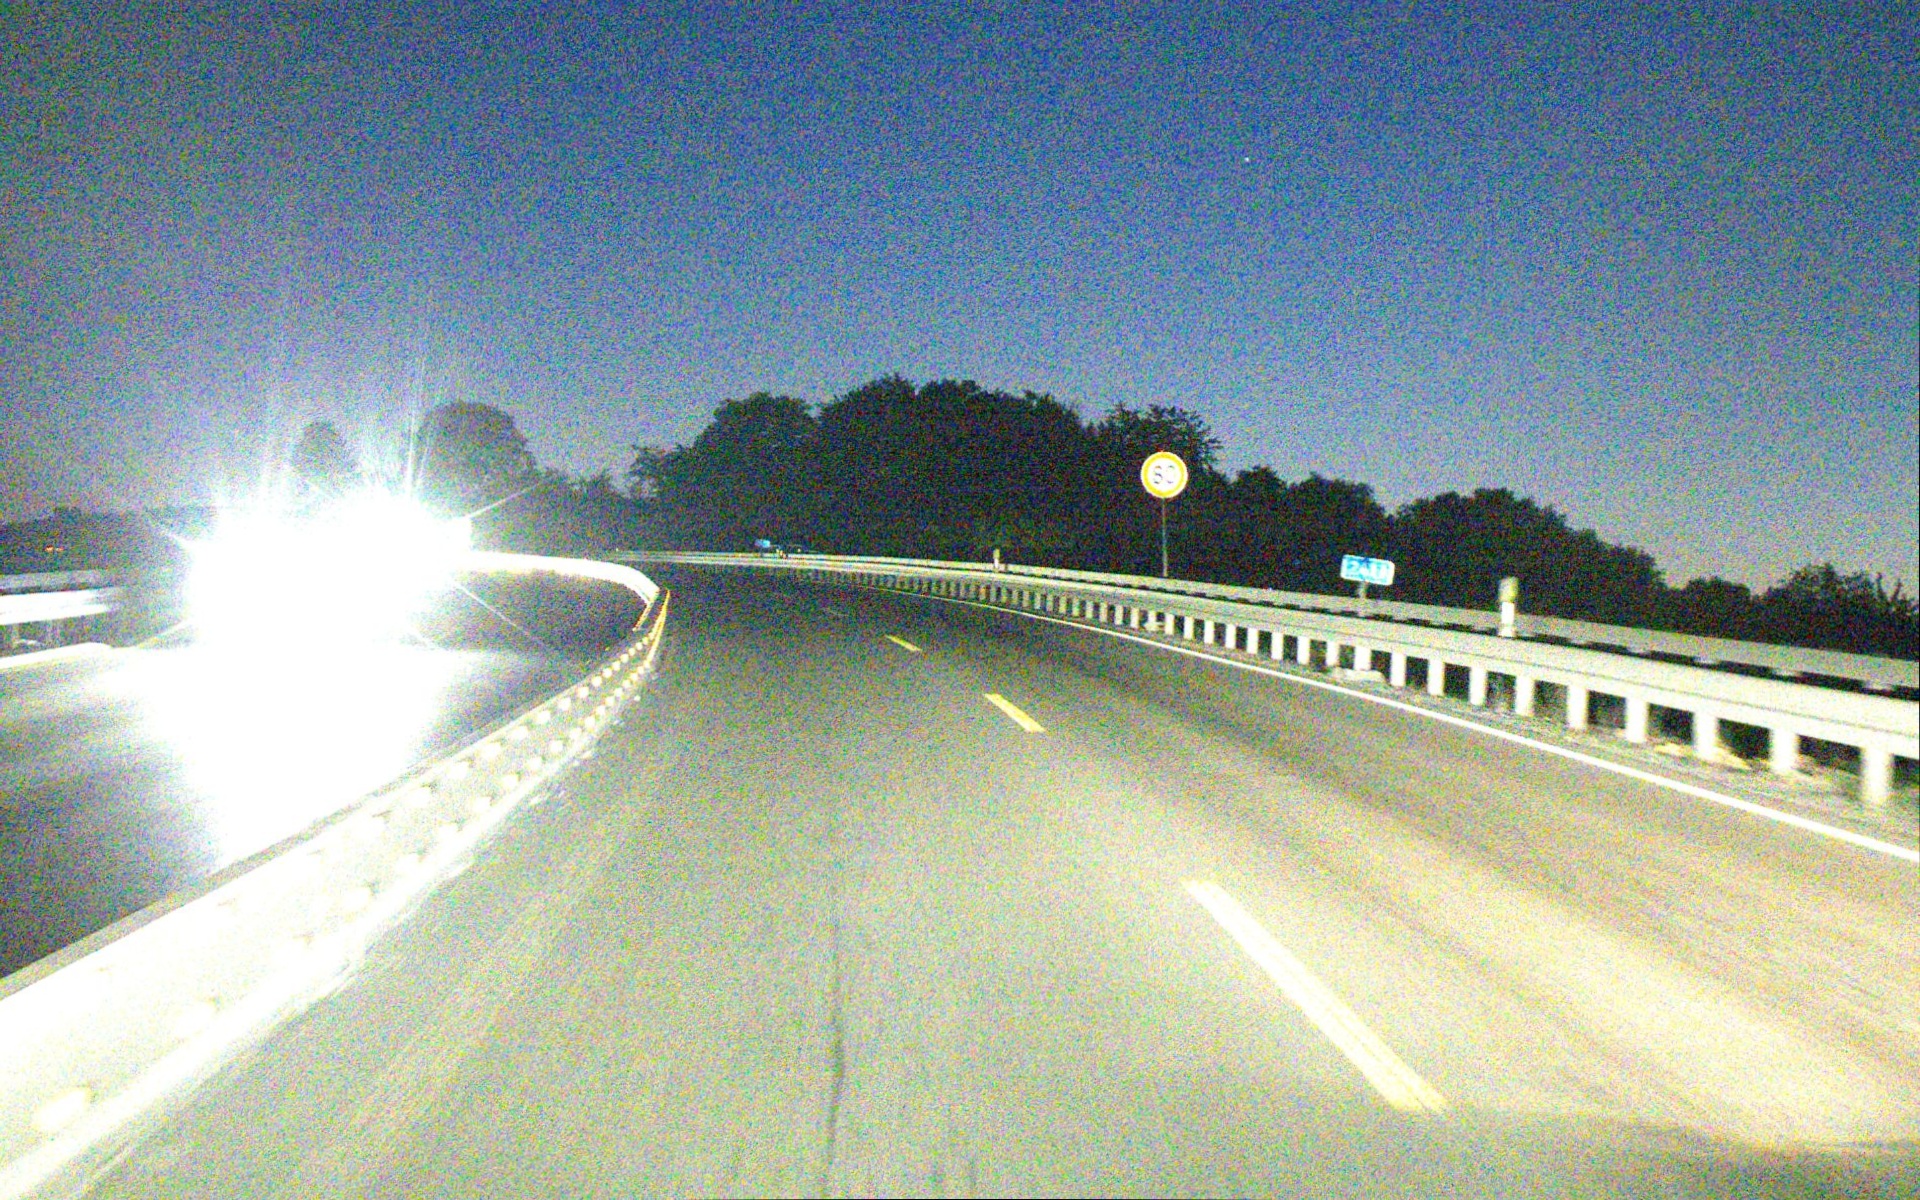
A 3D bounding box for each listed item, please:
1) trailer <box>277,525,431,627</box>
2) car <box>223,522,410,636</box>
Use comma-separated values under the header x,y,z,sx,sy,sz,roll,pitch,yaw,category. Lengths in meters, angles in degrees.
x,y,z,sx,sy,sz,roll,pitch,yaw,category
-8.899,-0.379,50.691,1.883,1.421,3.351,0,2,-4,trailer
-8.642,-0.325,46.540,1.912,1.421,4.953,0,2,-4,car
